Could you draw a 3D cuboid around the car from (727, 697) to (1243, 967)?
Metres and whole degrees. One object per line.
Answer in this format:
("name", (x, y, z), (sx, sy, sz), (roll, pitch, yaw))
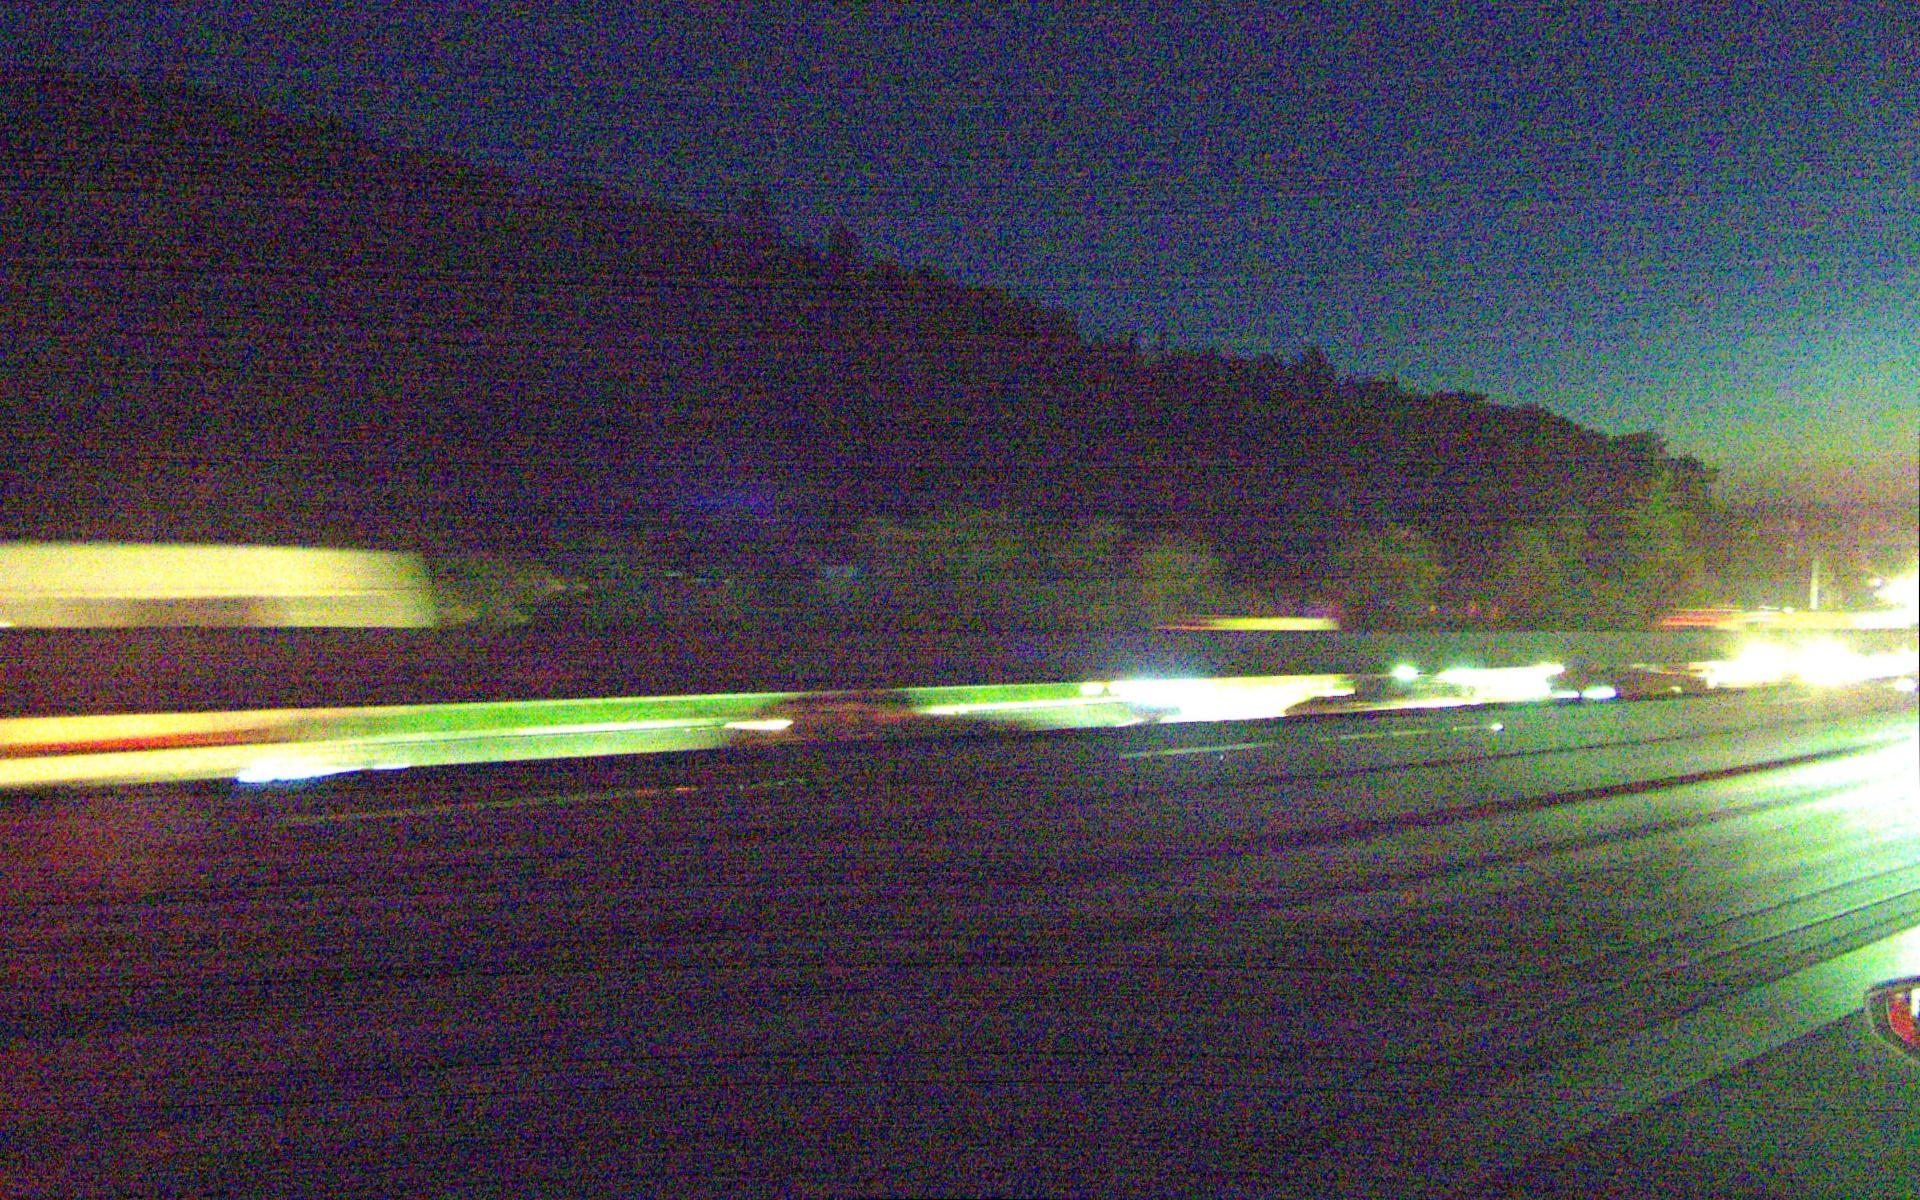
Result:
("car", (0.286, 1.752, 8.734), (4.101, 1.557, 1.983), (1, -1, -32))

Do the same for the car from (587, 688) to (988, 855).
("car", (-2.009, 1.915, 12.188), (4.456, 1.471, 1.824), (1, -1, -32))

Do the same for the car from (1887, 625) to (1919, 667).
("car", (35.187, 1.654, 36.229), (3.801, 1.472, 1.738), (2, -3, -34))

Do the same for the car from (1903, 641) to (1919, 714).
("car", (21.640, 1.605, 20.973), (4.456, 1.471, 1.824), (1, -1, -32))

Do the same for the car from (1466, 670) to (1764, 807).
("car", (9.172, 1.794, 13.969), (4.456, 1.471, 1.809), (1, -1, -32))

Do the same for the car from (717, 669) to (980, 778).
("car", (-1.810, 1.947, 16.691), (3.957, 1.471, 1.824), (1, -1, -32))

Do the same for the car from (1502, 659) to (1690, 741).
("car", (14.056, 2.114, 22.134), (4.456, 1.535, 1.809), (1, -1, -32))

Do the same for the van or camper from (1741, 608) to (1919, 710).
("van or camper", (24.966, 1.606, 28.699), (6.616, 2.629, 2.242), (1, -2, -34))

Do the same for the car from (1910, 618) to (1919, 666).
("car", (48.670, 2.024, 49.284), (4.517, 2.297, 2.117), (0, -1, -35))

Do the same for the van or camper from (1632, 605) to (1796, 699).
("van or camper", (24.733, 1.644, 32.872), (6.423, 2.797, 2.429), (1, -1, -35))

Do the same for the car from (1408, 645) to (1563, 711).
("car", (14.503, 2.072, 27.638), (4.456, 1.630, 1.824), (1, -1, -32))

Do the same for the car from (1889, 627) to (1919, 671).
("car", (44.302, 2.206, 45.979), (4.945, 1.985, 1.977), (1, -2, -40))

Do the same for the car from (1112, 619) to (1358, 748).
("car", (5.841, 1.632, 21.024), (5.387, 2.402, 1.824), (1, -1, -33))

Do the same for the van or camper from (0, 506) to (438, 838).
("van or camper", (-9.488, 0.782, 11.950), (5.633, 3.424, 2.256), (1, -1, -33))

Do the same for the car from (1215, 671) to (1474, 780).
("car", (6.555, 2.011, 16.965), (4.456, 1.471, 1.809), (1, -1, -32))
